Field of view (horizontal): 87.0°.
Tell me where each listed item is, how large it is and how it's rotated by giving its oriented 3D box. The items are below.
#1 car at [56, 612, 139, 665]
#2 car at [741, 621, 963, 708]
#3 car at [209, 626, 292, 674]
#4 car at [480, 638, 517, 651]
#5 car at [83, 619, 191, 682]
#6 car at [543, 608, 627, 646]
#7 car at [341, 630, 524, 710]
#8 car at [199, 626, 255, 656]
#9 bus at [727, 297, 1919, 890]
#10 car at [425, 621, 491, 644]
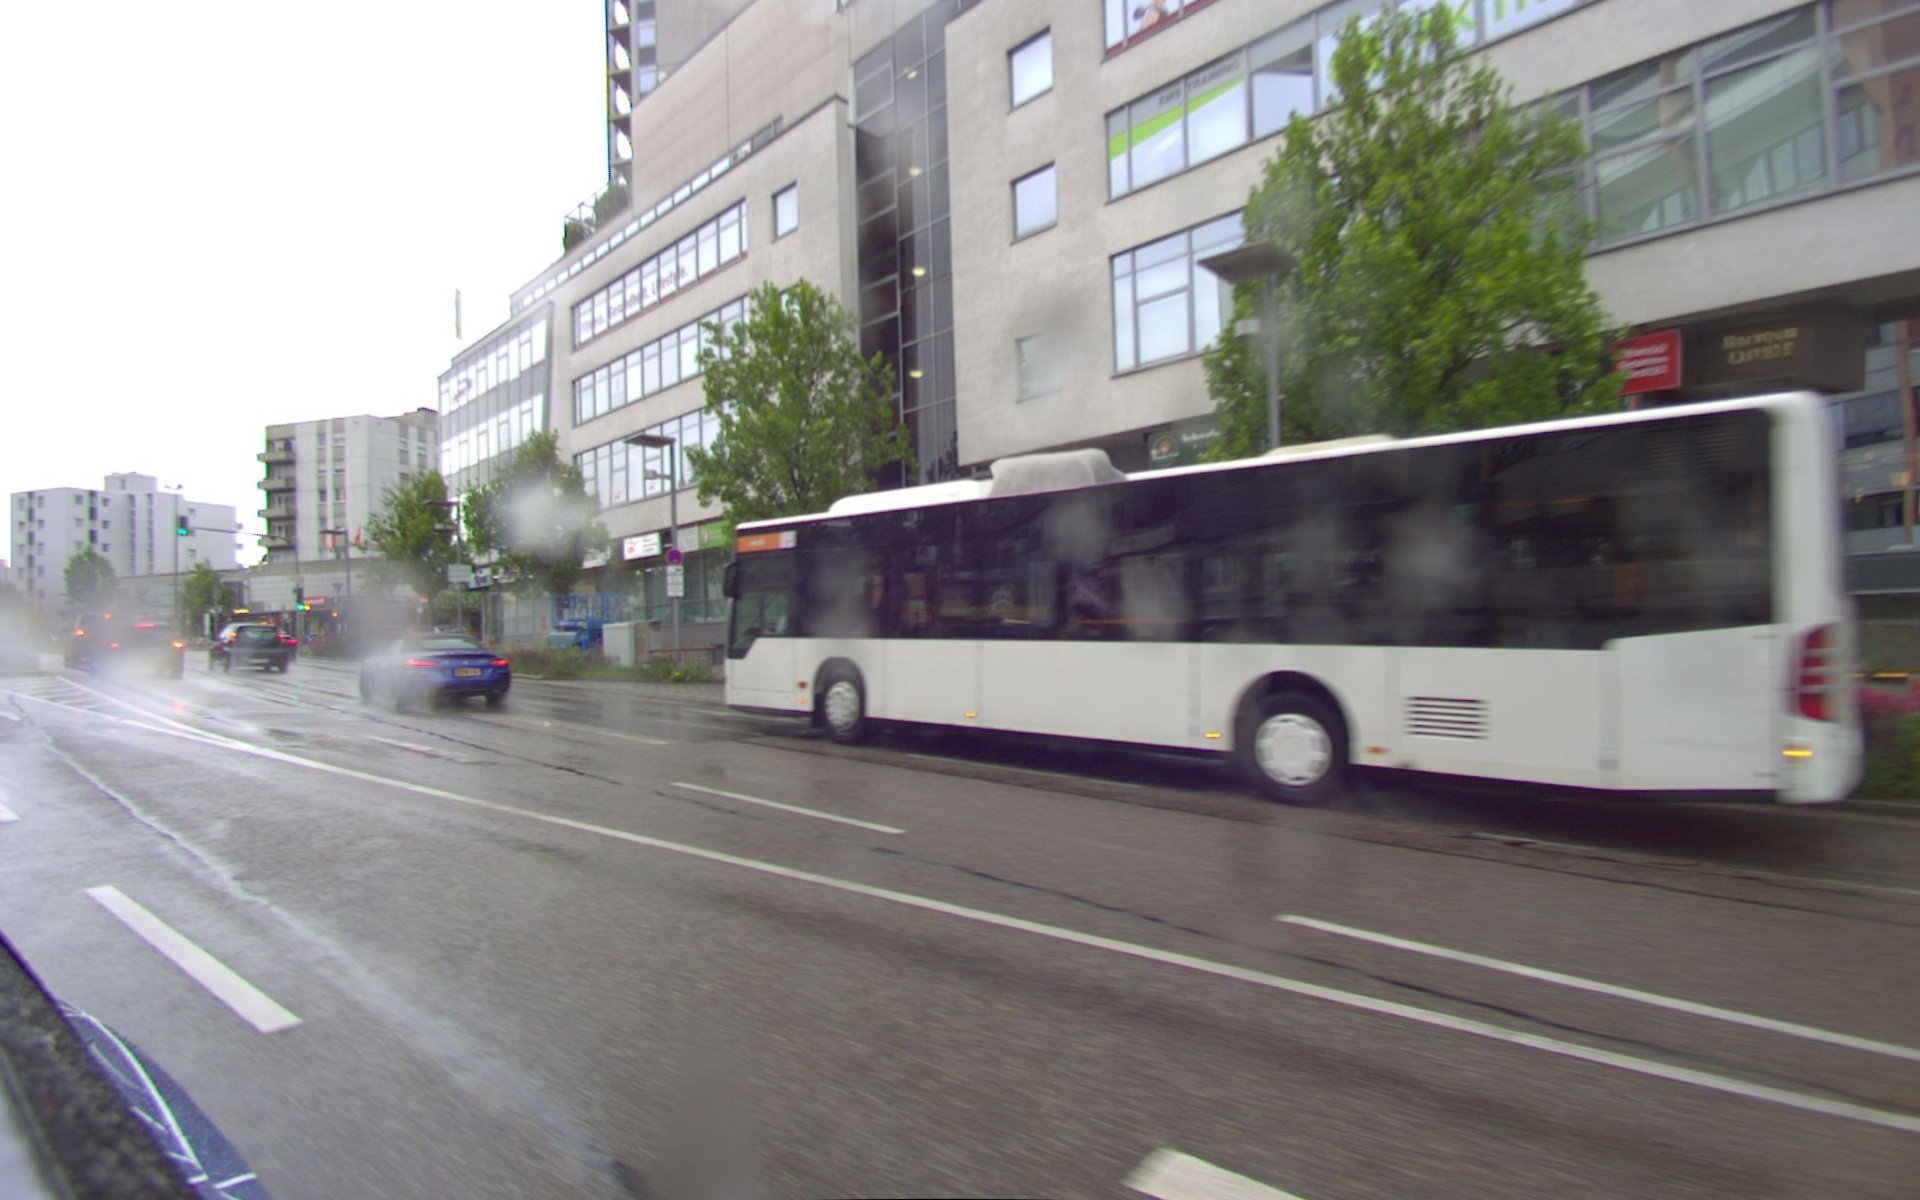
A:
[{"bbox_3d":[-31.397,1.384,36.806,4.001,1.804,1.842,-1,-3,44],"label":"car"},{"bbox_3d":[-2.167,1.145,19.396,4.477,1.458,1.805,-1,-1,44],"label":"car"},{"bbox_3d":[-21.929,1.516,31.240,1.547,1.386,3.284,2,-2,-44],"label":"car"},{"bbox_3d":[-43.443,4.167,95.332,1.437,1.202,3.048,0,-1,23],"label":"car"},{"bbox_3d":[-21.992,1.277,26.980,4.392,1.528,1.688,-1,-1,44],"label":"car"},{"bbox_3d":[-14.704,1.039,39.589,1.732,1.421,3.733,1,-1,-44],"label":"car"},{"bbox_3d":[-9.979,1.233,18.998,4.196,1.266,1.875,-1,-1,45],"label":"car"},{"bbox_3d":[-39.767,2.211,54.852,1.893,1.560,4.005,2,-2,-44],"label":"car"},{"bbox_3d":[2.003,0.053,10.542,2.858,3.123,12.008,1,-1,-44],"label":"bus"},{"bbox_3d":[-36.915,2.424,74.516,1.678,1.639,4.156,-1,-2,30],"label":"car"}]
